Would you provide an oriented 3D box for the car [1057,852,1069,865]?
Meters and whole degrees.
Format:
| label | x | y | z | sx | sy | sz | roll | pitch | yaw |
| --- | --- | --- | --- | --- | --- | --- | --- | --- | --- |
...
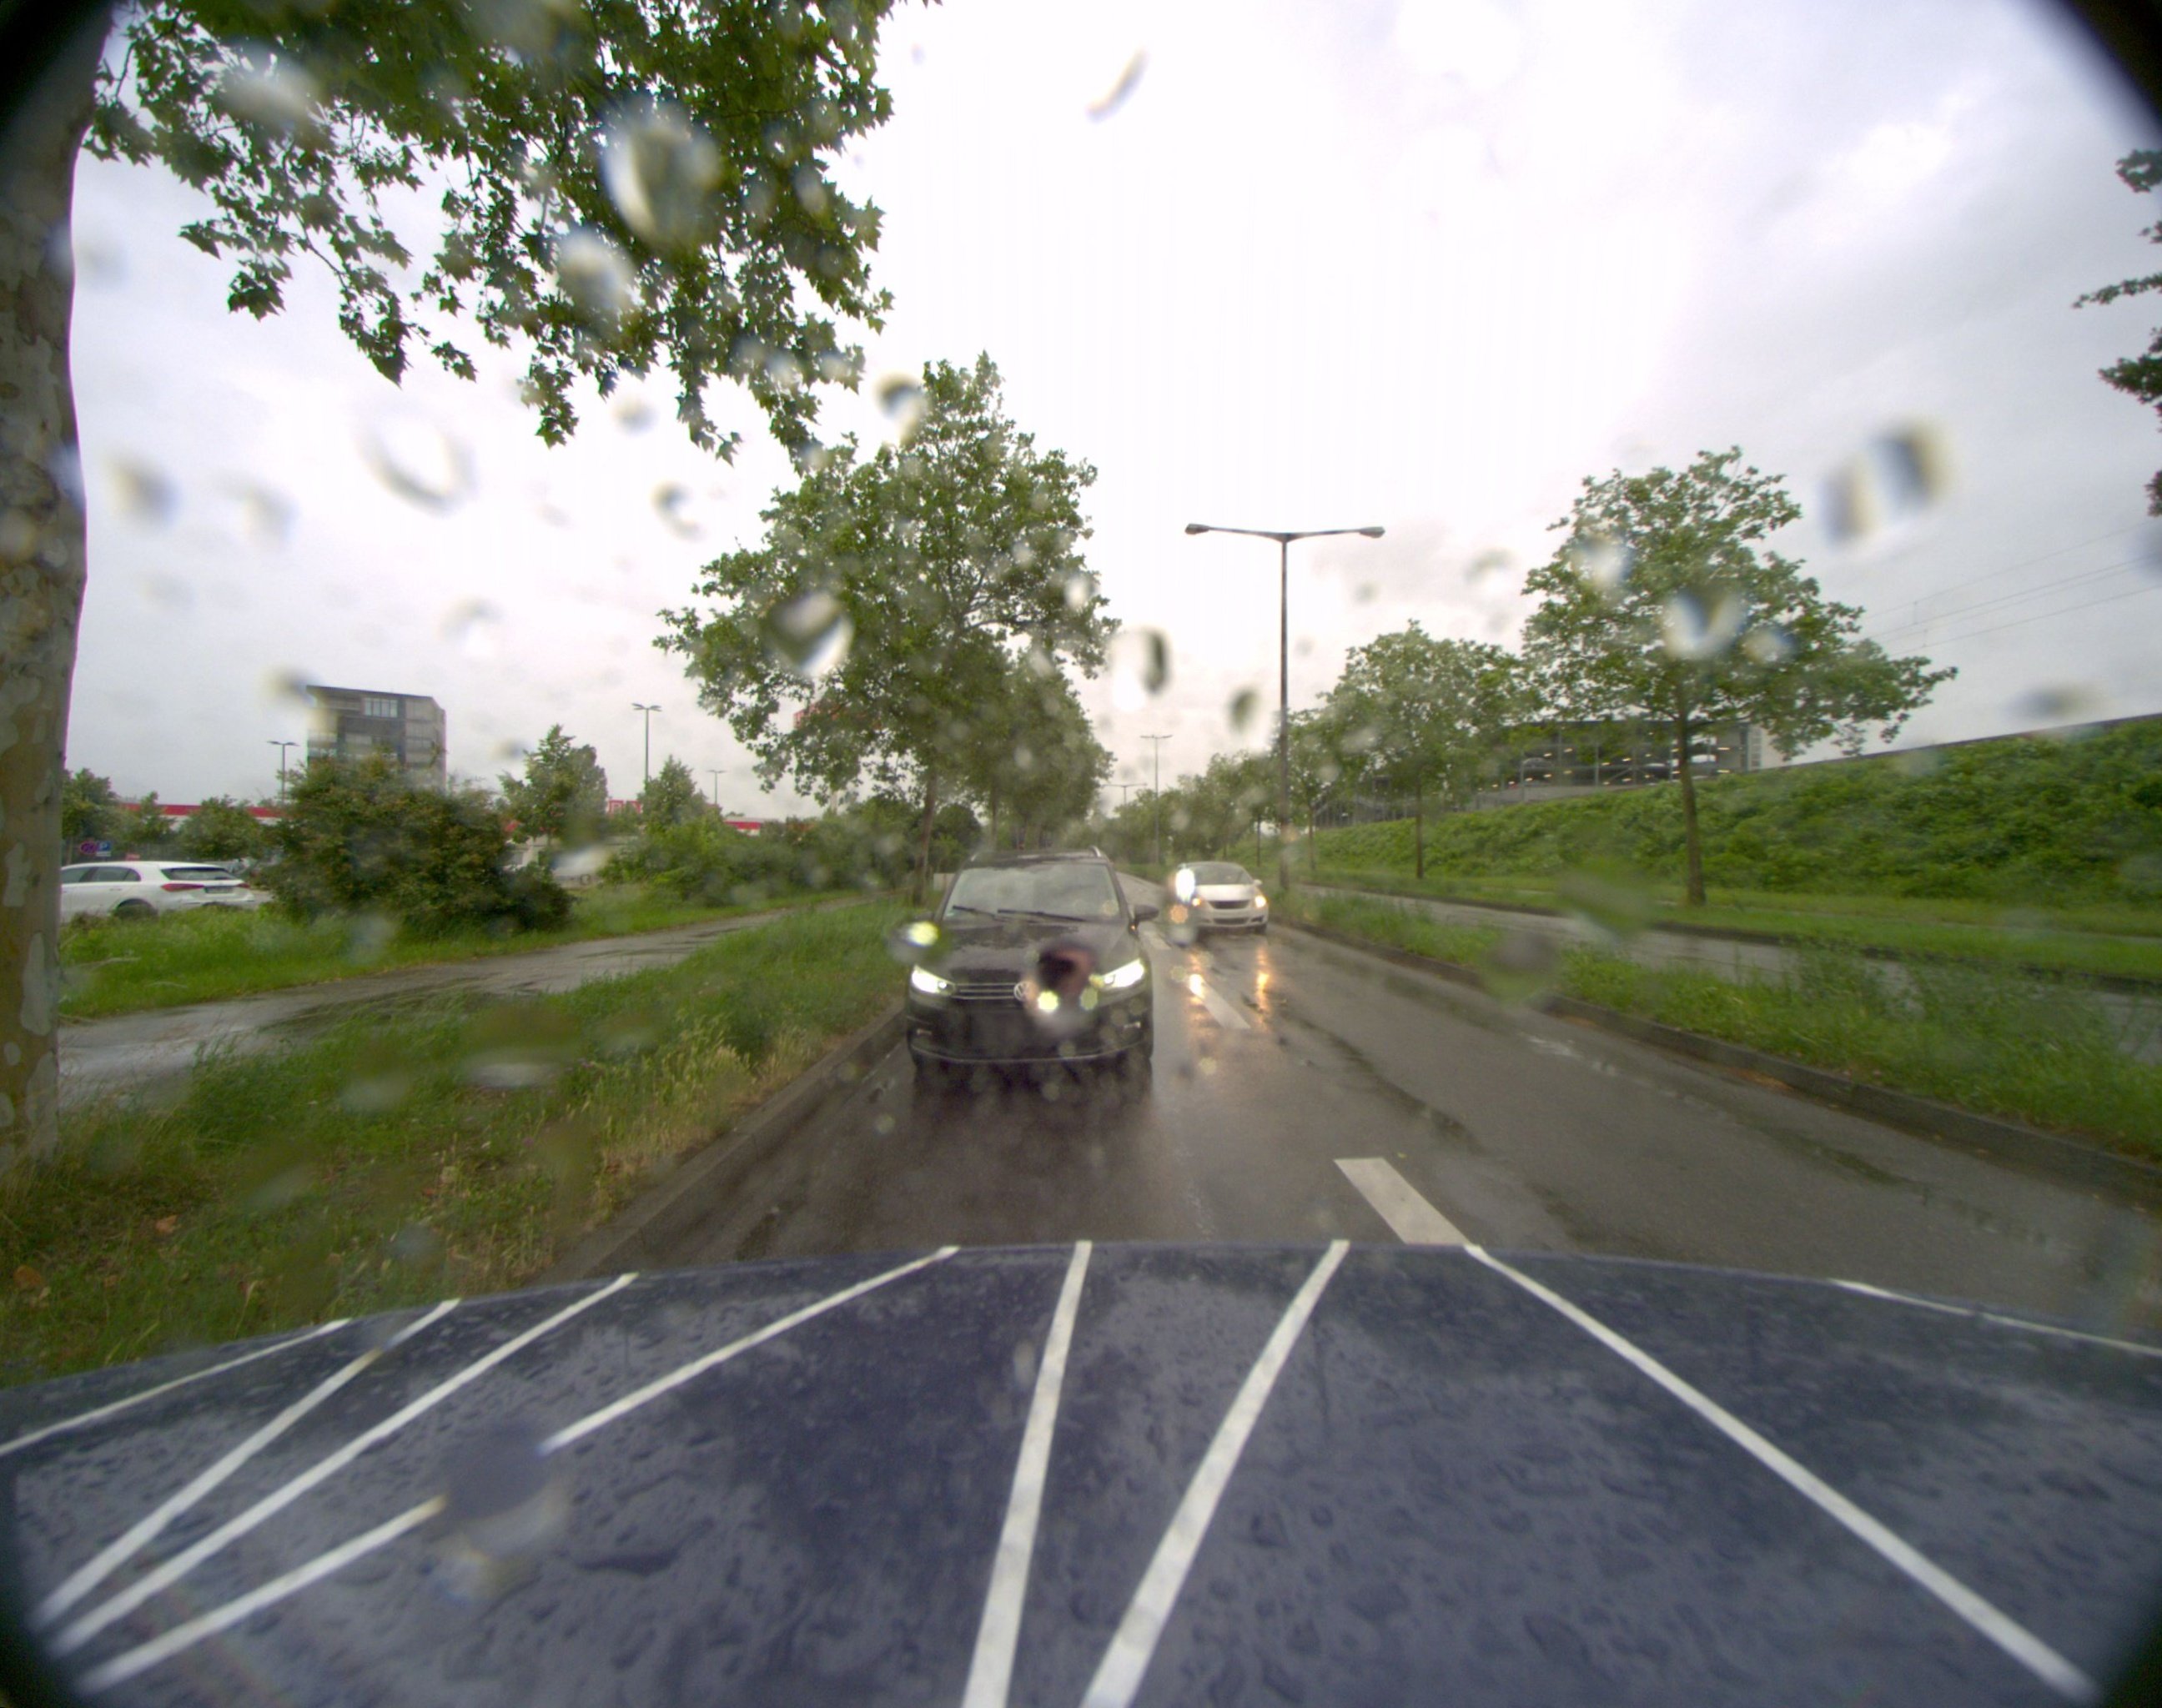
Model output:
| label | x | y | z | sx | sy | sz | roll | pitch | yaw |
| --- | --- | --- | --- | --- | --- | --- | --- | --- | --- |
| car | -3.073 | 0.701 | 127.666 | 1.999 | 2.002 | 5.130 | -2 | 1 | -2 |

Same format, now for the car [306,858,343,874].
| label | x | y | z | sx | sy | sz | roll | pitch | yaw |
| --- | --- | --- | --- | --- | --- | --- | --- | --- | --- |
| car | -78.462 | 1.219 | 78.875 | 2.006 | 1.667 | 4.262 | 0 | 0 | -35 |

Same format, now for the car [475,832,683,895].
| label | x | y | z | sx | sy | sz | roll | pitch | yaw |
| --- | --- | --- | --- | --- | --- | --- | --- | --- | --- |
| car | -19.658 | 0.360 | 30.091 | 6.425 | 2.349 | 2.390 | 0 | 1 | -8 |

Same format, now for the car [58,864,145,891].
| label | x | y | z | sx | sy | sz | roll | pitch | yaw |
| --- | --- | --- | --- | --- | --- | --- | --- | --- | --- |
| car | -61.893 | 1.427 | 48.119 | 1.933 | 1.543 | 4.263 | 0 | 0 | -30 |

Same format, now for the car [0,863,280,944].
| label | x | y | z | sx | sy | sz | roll | pitch | yaw |
| --- | --- | --- | --- | --- | --- | --- | --- | --- | --- |
| car | -19.785 | 0.966 | 15.672 | 4.272 | 1.543 | 1.929 | 0 | 0 | -4 |

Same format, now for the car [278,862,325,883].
| label | x | y | z | sx | sy | sz | roll | pitch | yaw |
| --- | --- | --- | --- | --- | --- | --- | --- | --- | --- |
| car | -67.276 | 1.588 | 65.614 | 2.006 | 1.667 | 4.262 | 0 | 0 | -34 |

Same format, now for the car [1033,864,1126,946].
| label | x | y | z | sx | sy | sz | roll | pitch | yaw |
| --- | --- | --- | --- | --- | --- | --- | --- | --- | --- |
| car | -0.025 | 1.014 | 16.630 | 1.724 | 1.456 | 4.092 | -2 | 0 | 0 |

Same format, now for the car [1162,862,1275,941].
| label | x | y | z | sx | sy | sz | roll | pitch | yaw |
| --- | --- | --- | --- | --- | --- | --- | --- | --- | --- |
| car | 2.791 | 0.908 | 16.232 | 1.683 | 1.368 | 4.011 | -2 | 0 | 0 |

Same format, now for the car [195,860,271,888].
| label | x | y | z | sx | sy | sz | roll | pitch | yaw |
| --- | --- | --- | --- | --- | --- | --- | --- | --- | --- |
| car | -49.854 | 1.141 | 44.781 | 1.933 | 1.543 | 4.262 | 0 | 0 | -33 |

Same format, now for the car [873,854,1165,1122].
| label | x | y | z | sx | sy | sz | roll | pitch | yaw |
| --- | --- | --- | --- | --- | --- | --- | --- | --- | --- |
| car | -0.429 | 0.840 | 7.080 | 1.771 | 1.596 | 4.626 | -2 | 0 | -1 |

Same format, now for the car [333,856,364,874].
| label | x | y | z | sx | sy | sz | roll | pitch | yaw |
| --- | --- | --- | --- | --- | --- | --- | --- | --- | --- |
| car | -68.964 | 1.019 | 71.566 | 2.007 | 1.667 | 4.261 | 0 | 1 | -44 |

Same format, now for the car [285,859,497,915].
| label | x | y | z | sx | sy | sz | roll | pitch | yaw |
| --- | --- | --- | --- | --- | --- | --- | --- | --- | --- |
| car | -19.938 | 0.924 | 22.142 | 4.272 | 1.543 | 1.929 | 0 | 0 | -4 |

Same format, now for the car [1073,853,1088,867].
| label | x | y | z | sx | sy | sz | roll | pitch | yaw |
| --- | --- | --- | --- | --- | --- | --- | --- | --- | --- |
| car | -0.090 | 0.787 | 98.371 | 1.831 | 1.737 | 4.147 | -2 | 0 | 0 |

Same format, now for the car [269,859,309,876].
| label | x | y | z | sx | sy | sz | roll | pitch | yaw |
| --- | --- | --- | --- | --- | --- | --- | --- | --- | --- |
| car | -80.573 | 1.318 | 77.344 | 2.006 | 1.667 | 4.262 | 0 | 0 | -35 |

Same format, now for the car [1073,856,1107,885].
| label | x | y | z | sx | sy | sz | roll | pitch | yaw |
| --- | --- | --- | --- | --- | --- | --- | --- | --- | --- |
| car | 0.529 | 0.860 | 42.214 | 1.724 | 1.456 | 4.092 | -2 | 0 | 1 |
